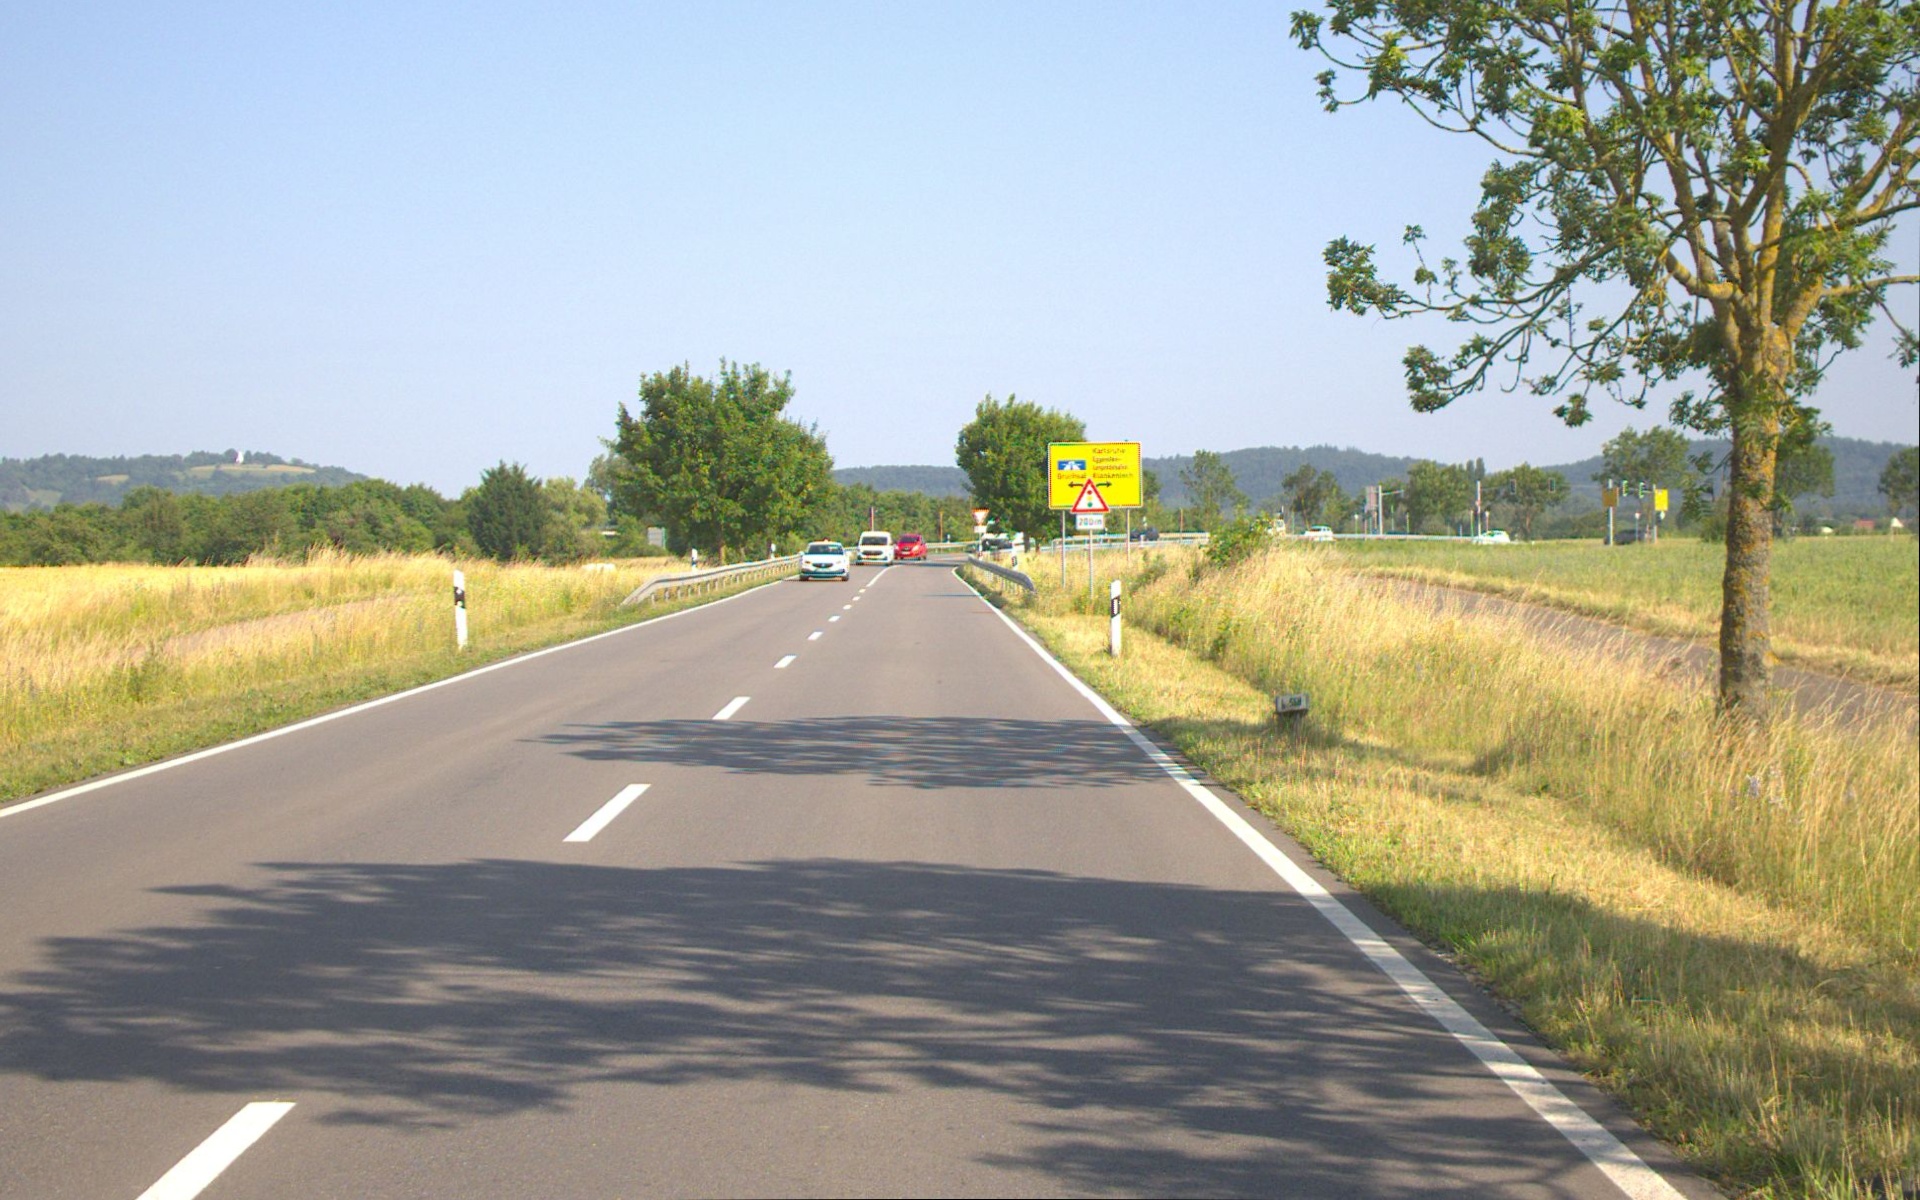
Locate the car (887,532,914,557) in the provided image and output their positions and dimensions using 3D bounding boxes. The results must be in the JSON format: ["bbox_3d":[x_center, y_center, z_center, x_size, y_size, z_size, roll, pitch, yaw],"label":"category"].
[{"bbox_3d":[-3.554,-3.315,206.050,1.606,1.483,3.780,0,1,-1],"label":"car"}]

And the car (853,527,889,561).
[{"bbox_3d":[-4.734,-3.000,183.863,1.836,1.780,4.435,0,1,0],"label":"car"}]

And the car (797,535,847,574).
[{"bbox_3d":[-5.116,-1.686,127.926,1.726,1.432,4.517,0,1,-1],"label":"car"}]

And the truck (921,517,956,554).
[{"bbox_3d":[-1.438,-4.460,236.884,1.994,2.511,6.243,0,1,3],"label":"truck"}]
